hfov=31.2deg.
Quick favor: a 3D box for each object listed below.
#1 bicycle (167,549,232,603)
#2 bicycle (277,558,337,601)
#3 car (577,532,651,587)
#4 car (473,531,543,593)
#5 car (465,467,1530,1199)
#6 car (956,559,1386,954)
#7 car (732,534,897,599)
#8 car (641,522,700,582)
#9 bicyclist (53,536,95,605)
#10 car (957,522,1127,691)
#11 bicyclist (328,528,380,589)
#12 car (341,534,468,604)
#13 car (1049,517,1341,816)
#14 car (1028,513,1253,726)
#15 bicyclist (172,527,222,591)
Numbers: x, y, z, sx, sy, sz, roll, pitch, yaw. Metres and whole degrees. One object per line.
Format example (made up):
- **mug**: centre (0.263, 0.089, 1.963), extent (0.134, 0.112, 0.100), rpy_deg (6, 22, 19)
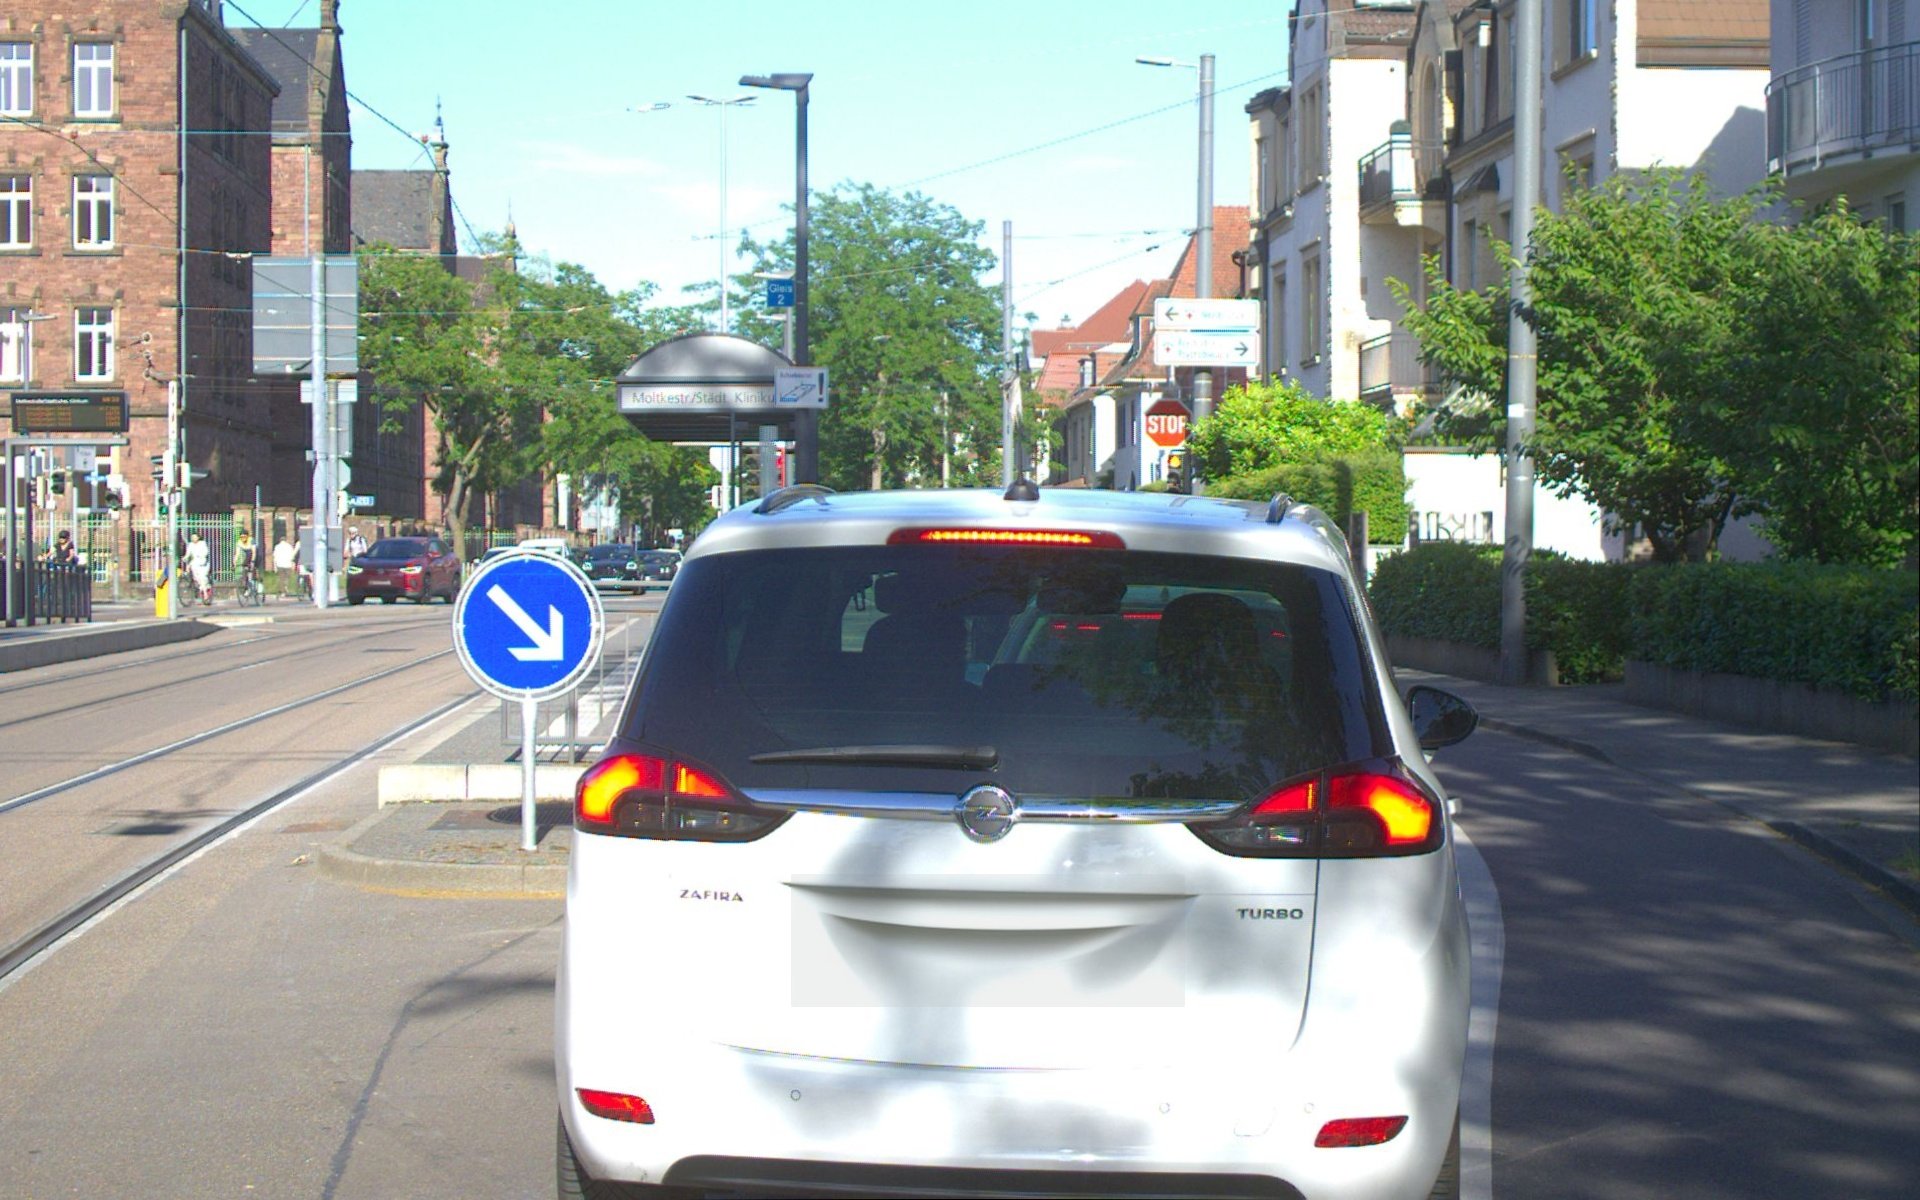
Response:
- **bicycle**: centre (-17.825, -0.561, 80.579), extent (0.815, 1.194, 1.952), rpy_deg (-1, -2, 10)
- **bicycle**: centre (-16.790, -0.542, 88.408), extent (0.669, 1.068, 2.013), rpy_deg (2, 1, 15)
- **car**: centre (-10.299, -1.214, 102.615), extent (1.993, 1.590, 4.001), rpy_deg (0, 1, -3)
- **car**: centre (-13.530, -1.152, 103.040), extent (1.698, 1.803, 4.001), rpy_deg (0, 1, -2)
- **car**: centre (0.225, 0.528, 8.097), extent (1.878, 1.579, 3.999), rpy_deg (1, 1, 5)
- **car**: centre (0.951, 0.561, 14.788), extent (1.569, 1.396, 3.783), rpy_deg (2, 1, 5)
- **car**: centre (-3.733, -0.863, 87.898), extent (3.994, 1.624, 1.669), rpy_deg (1, 1, 32)
- **car**: centre (-9.872, -1.661, 117.269), extent (1.993, 2.007, 4.001), rpy_deg (0, 1, -5)
- **bicyclist**: centre (-18.878, -0.641, 73.248), extent (0.653, 1.454, 1.152), rpy_deg (0, 1, -4)
- **car**: centre (0.812, 0.031, 36.285), extent (1.596, 1.629, 3.901), rpy_deg (2, 1, -1)
- **bicyclist**: centre (-15.539, -1.064, 88.193), extent (0.761, 1.531, 1.347), rpy_deg (2, 1, 15)
- **car**: centre (-13.151, -0.748, 81.587), extent (1.818, 1.601, 4.358), rpy_deg (0, 1, 7)
- **car**: centre (1.470, 0.333, 21.038), extent (1.569, 1.609, 3.783), rpy_deg (2, 1, 5)
- **car**: centre (1.468, 0.122, 29.173), extent (1.596, 1.629, 3.901), rpy_deg (2, 1, -1)
- **bicyclist**: centre (-17.852, -0.953, 80.436), extent (0.757, 1.466, 1.190), rpy_deg (0, -1, 10)
